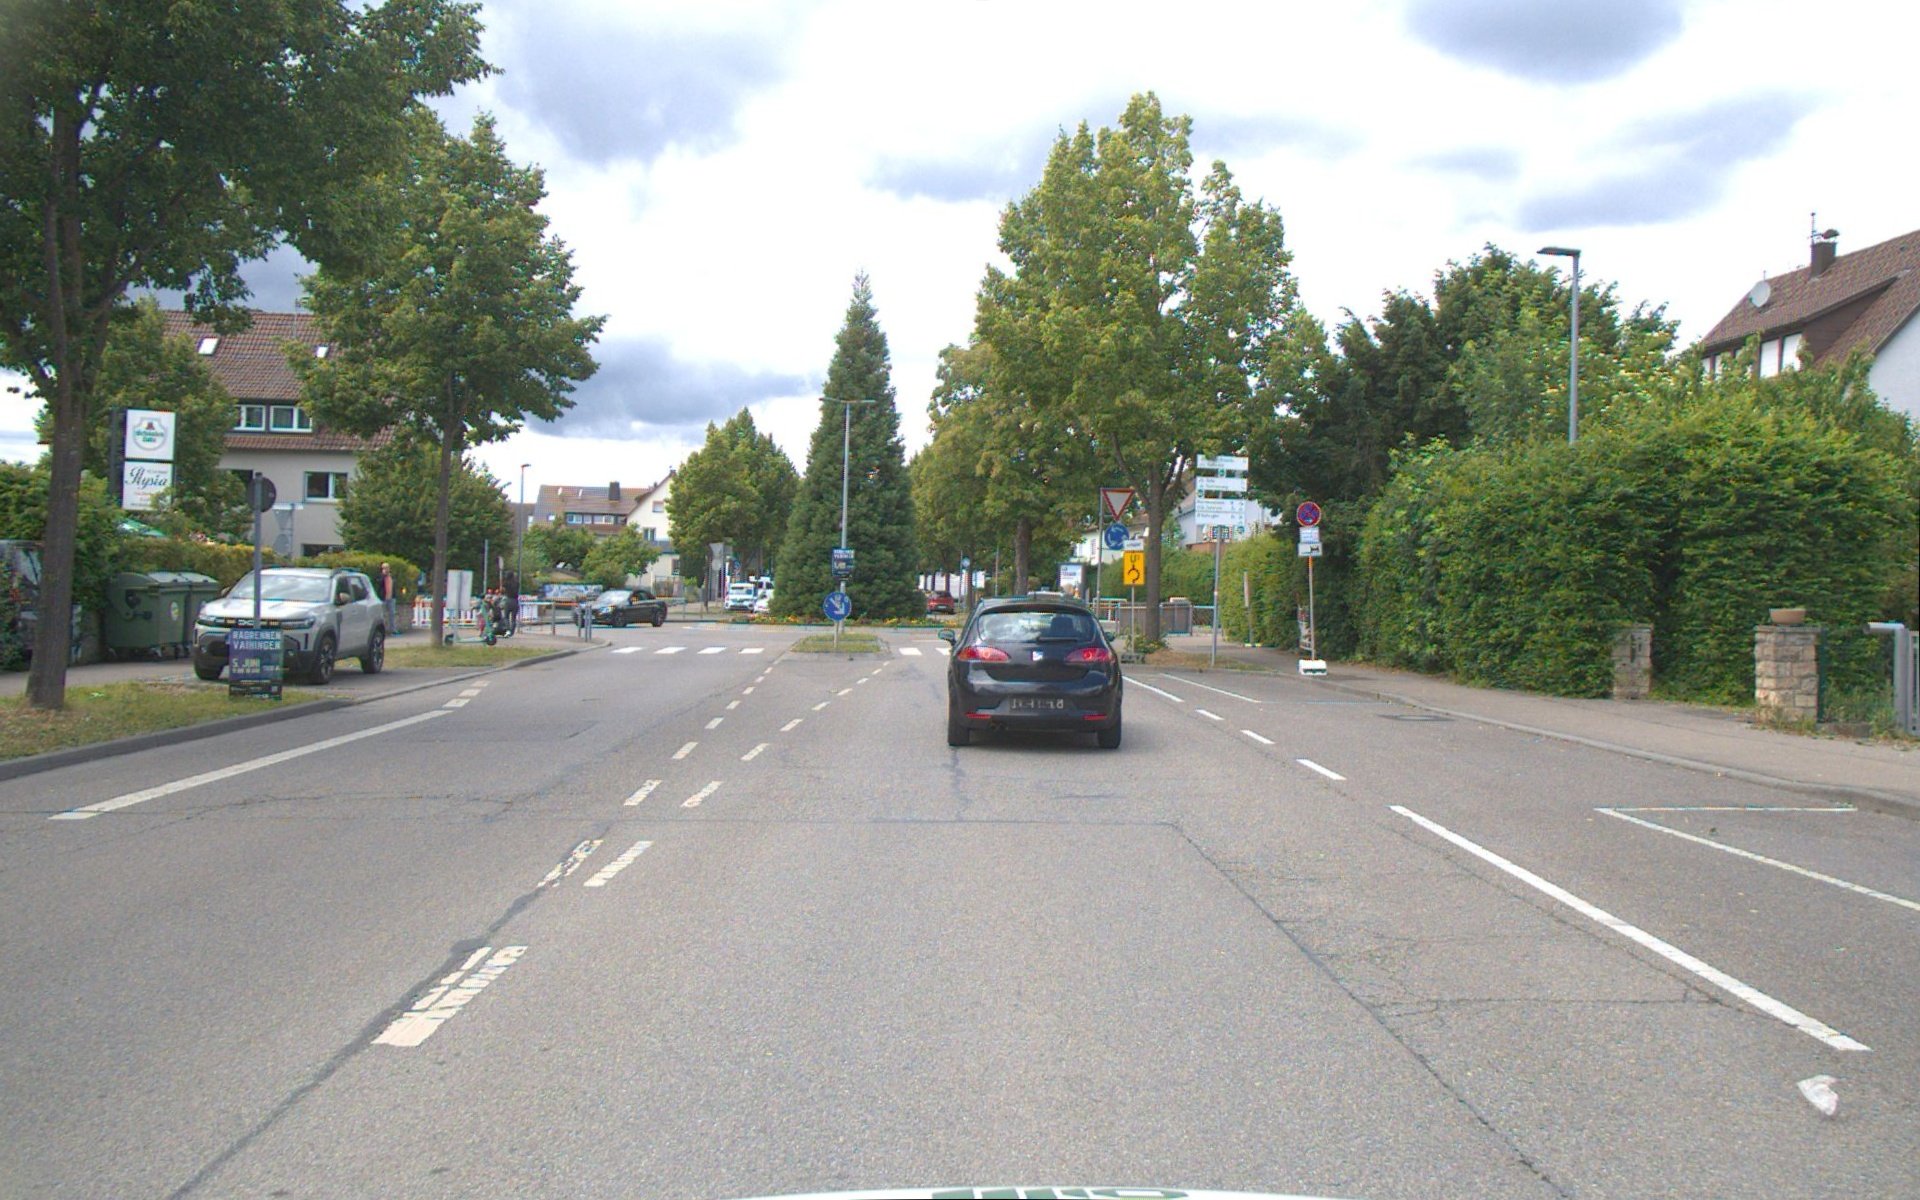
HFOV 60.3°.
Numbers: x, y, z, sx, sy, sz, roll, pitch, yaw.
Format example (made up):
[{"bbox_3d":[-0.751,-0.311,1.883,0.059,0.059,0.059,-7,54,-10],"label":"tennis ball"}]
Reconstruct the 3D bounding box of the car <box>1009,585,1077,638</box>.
[{"bbox_3d":[2.735,0.364,55.369,1.953,1.641,3.999,1,0,-2],"label":"car"}]

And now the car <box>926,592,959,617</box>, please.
[{"bbox_3d":[-1.132,0.271,104.465,1.449,1.515,3.372,1,0,-12],"label":"car"}]

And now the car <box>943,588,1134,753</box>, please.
[{"bbox_3d":[0.707,0.646,17.297,1.697,1.512,3.999,1,0,-1],"label":"car"}]

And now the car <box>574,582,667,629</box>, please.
[{"bbox_3d":[-12.289,0.189,60.099,1.536,1.663,3.621,1,0,23],"label":"car"}]

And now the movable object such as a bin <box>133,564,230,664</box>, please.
[{"bbox_3d":[-13.797,0.242,29.335,1.182,1.680,0.997,3,0,-4],"label":"movable object such as a bin"}]

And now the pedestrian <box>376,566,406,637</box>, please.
[{"bbox_3d":[-14.585,0.037,42.399,0.557,1.815,0.532,1,0,-42],"label":"pedestrian"}]

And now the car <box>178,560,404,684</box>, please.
[{"bbox_3d":[-10.031,0.298,25.164,1.823,1.682,4.292,1,0,-3],"label":"car"}]

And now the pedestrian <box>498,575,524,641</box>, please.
[{"bbox_3d":[-11.582,0.207,42.642,0.477,1.699,0.509,1,0,-36],"label":"pedestrian"}]

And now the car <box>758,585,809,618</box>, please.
[{"bbox_3d":[-8.708,0.060,81.782,1.830,1.588,4.261,1,0,3],"label":"car"}]

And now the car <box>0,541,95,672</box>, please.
[{"bbox_3d":[-15.685,0.065,25.208,3.906,1.924,1.999,1,0,-2],"label":"car"}]

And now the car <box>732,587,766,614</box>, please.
[{"bbox_3d":[-13.029,0.009,102.490,1.762,1.629,3.998,0,0,-3],"label":"car"}]

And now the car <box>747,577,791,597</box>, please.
[{"bbox_3d":[-19.415,-1.327,167.930,3.903,2.005,2.038,0,0,17],"label":"car"}]

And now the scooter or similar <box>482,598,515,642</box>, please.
[{"bbox_3d":[-12.061,0.518,43.219,0.403,1.114,0.955,4,-1,-41],"label":"scooter or similar"}]

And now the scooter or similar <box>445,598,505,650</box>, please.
[{"bbox_3d":[-11.023,0.544,37.607,1.272,1.158,0.343,0,0,-34],"label":"scooter or similar"}]

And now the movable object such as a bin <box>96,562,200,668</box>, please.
[{"bbox_3d":[-13.560,0.250,27.664,1.182,1.680,0.997,3,0,-4],"label":"movable object such as a bin"}]

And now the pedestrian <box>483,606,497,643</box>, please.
[{"bbox_3d":[-11.712,0.611,41.233,0.236,0.910,0.257,2,-1,-32],"label":"pedestrian"}]

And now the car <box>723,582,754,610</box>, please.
[{"bbox_3d":[-16.124,-0.313,120.576,1.990,2.005,3.997,0,0,-4],"label":"car"}]
